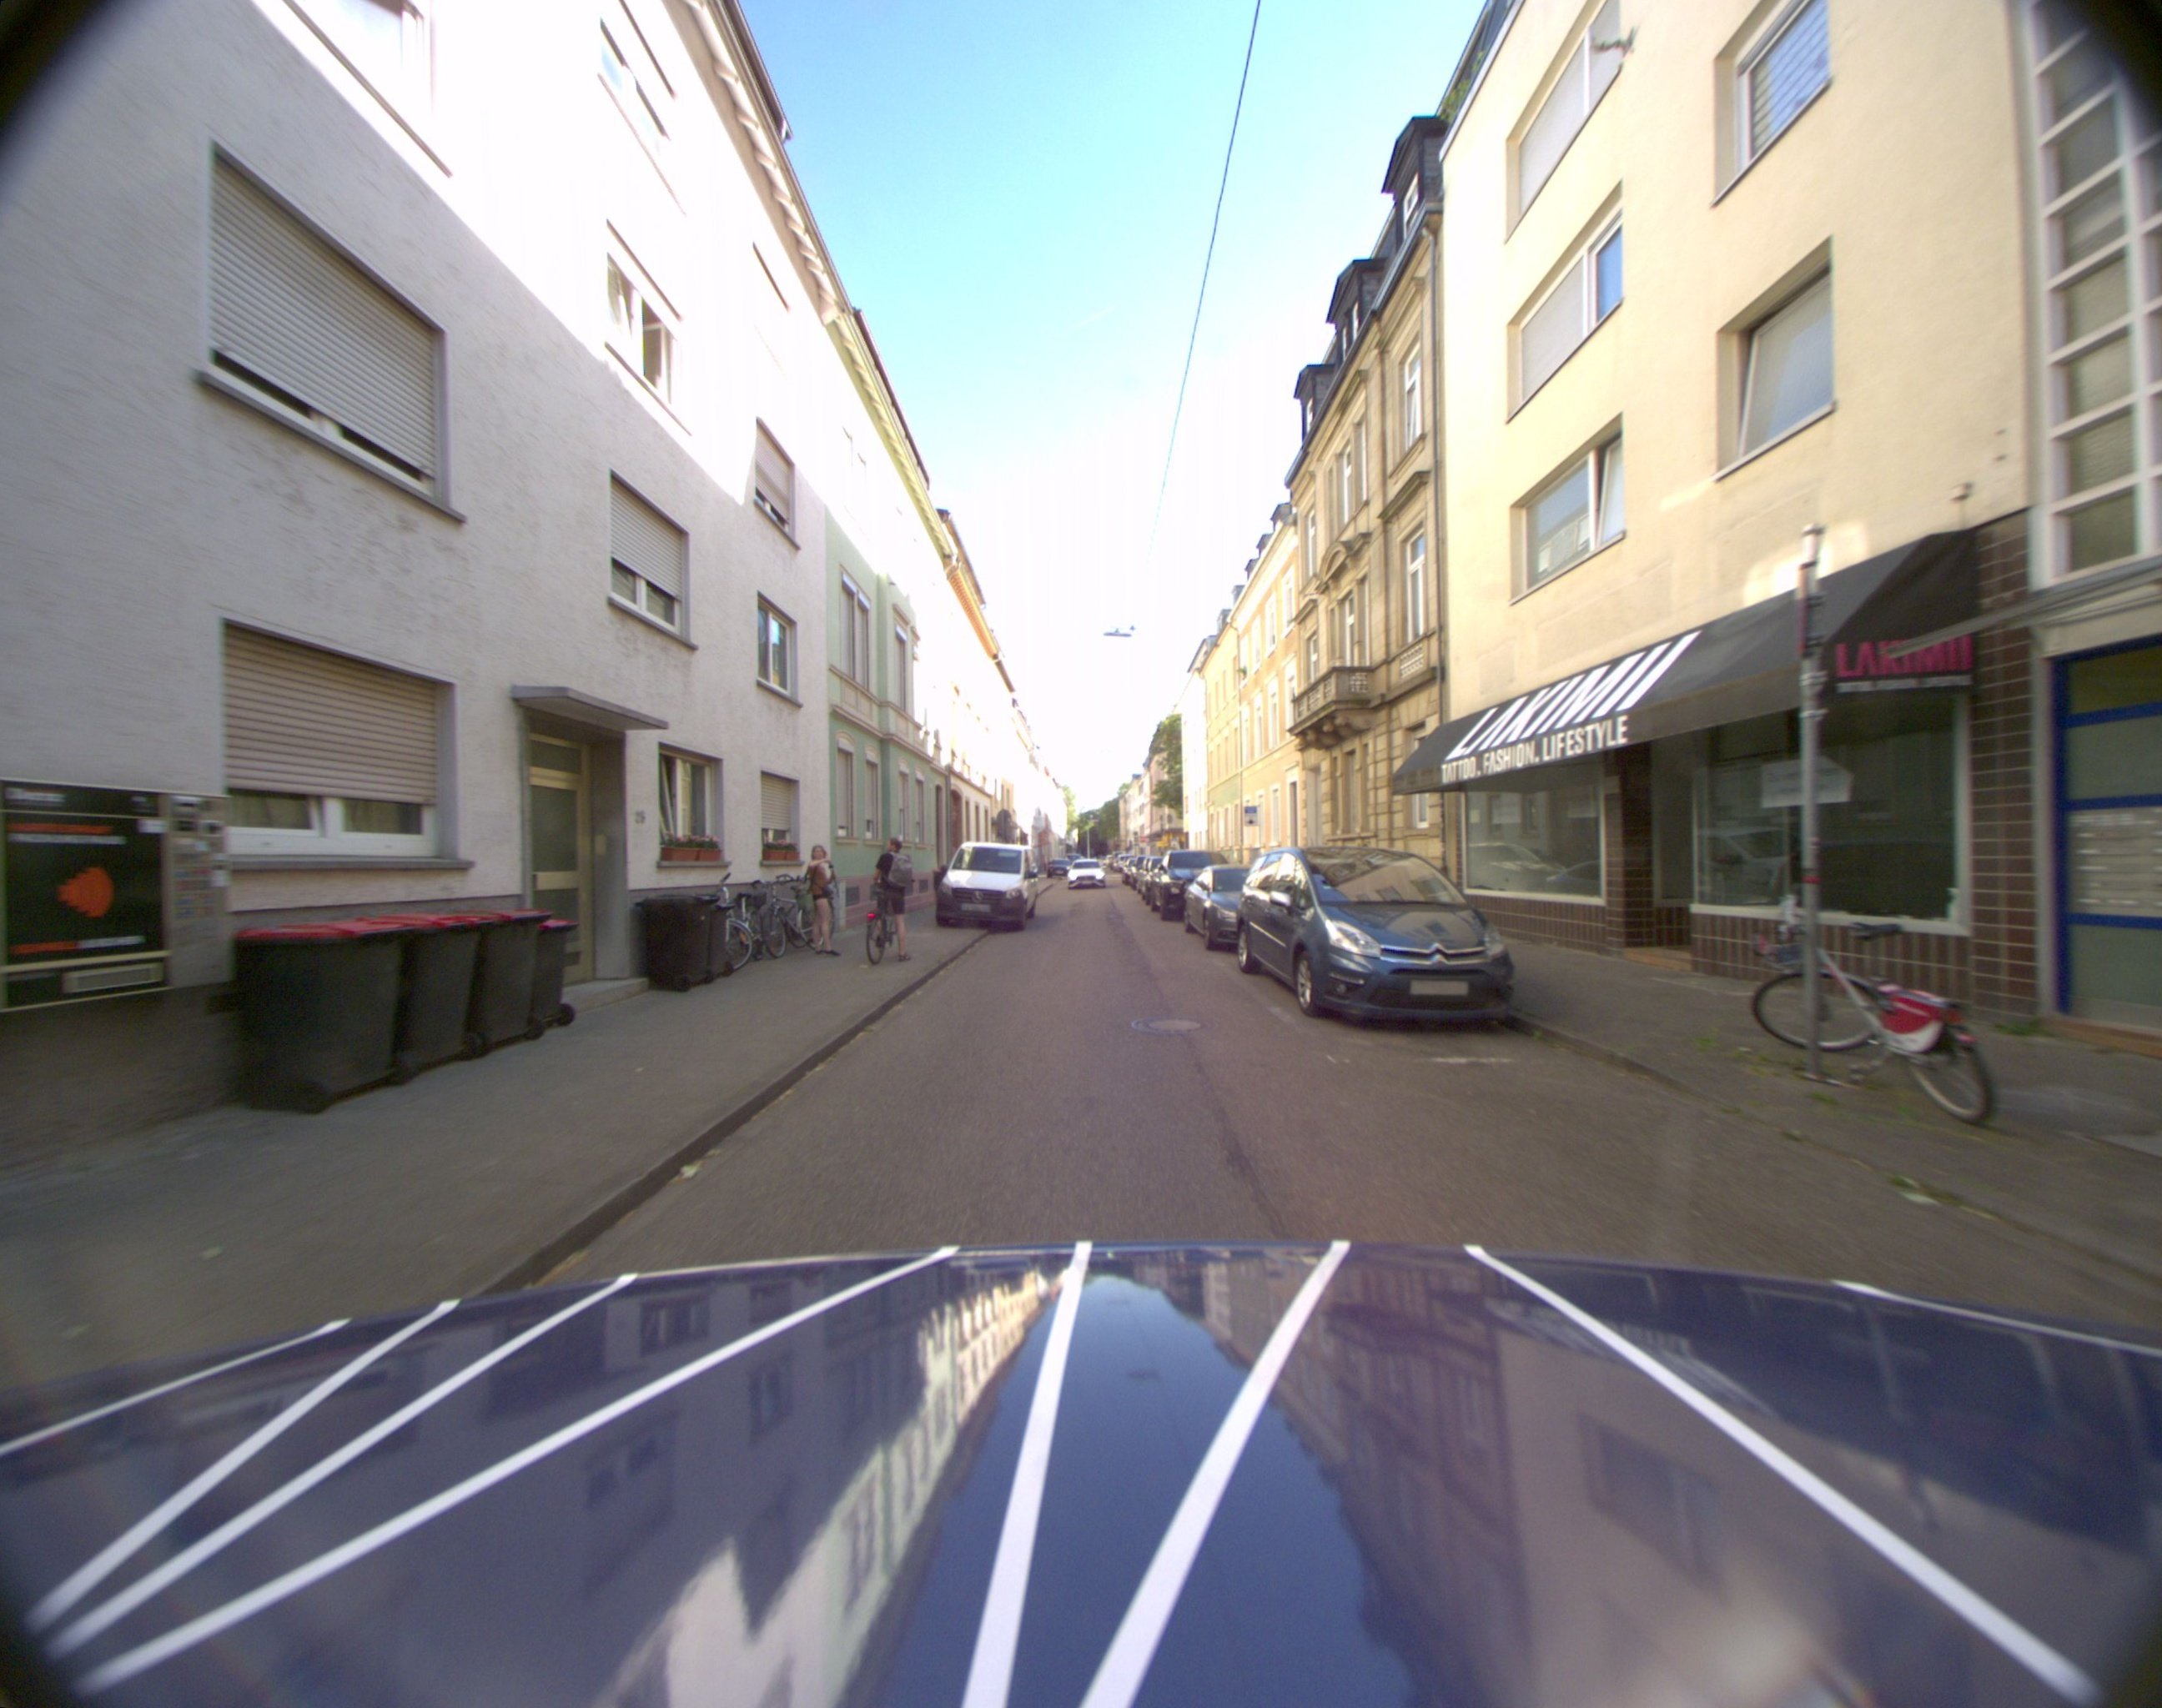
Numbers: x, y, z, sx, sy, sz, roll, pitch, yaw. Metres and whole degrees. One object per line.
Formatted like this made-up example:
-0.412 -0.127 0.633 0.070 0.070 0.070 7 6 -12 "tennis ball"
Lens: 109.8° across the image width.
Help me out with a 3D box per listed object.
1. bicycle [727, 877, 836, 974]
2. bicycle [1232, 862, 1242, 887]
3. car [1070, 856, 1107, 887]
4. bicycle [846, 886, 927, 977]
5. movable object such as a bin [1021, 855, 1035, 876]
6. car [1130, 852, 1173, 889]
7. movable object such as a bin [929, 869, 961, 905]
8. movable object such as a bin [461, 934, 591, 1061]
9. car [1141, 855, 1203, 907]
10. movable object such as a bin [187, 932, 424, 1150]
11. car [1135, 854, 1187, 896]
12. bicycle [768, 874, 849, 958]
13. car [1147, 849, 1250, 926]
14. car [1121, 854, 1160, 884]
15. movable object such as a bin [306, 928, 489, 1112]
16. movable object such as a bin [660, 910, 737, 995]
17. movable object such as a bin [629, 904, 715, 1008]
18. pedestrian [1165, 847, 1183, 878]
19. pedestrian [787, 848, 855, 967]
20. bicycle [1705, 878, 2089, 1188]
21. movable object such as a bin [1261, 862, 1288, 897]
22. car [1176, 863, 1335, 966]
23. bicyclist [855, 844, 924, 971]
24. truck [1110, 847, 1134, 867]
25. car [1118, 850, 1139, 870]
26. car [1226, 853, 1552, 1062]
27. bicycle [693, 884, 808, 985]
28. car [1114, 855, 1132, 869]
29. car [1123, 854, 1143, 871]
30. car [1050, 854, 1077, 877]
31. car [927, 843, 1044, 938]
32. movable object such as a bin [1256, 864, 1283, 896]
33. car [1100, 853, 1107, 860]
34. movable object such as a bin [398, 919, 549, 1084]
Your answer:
-4.403 1.004 11.379 0.438 1.199 2.267 0 1 8 "bicycle"
6.726 0.877 32.843 0.361 1.023 1.918 0 1 11 "bicycle"
0.405 0.847 38.105 1.761 1.399 4.021 -1 1 1 "car"
-2.805 1.080 11.170 0.665 1.130 1.988 2 -1 -1 "bicycle"
-3.654 0.769 52.614 0.748 1.428 1.372 2 1 3 "movable object such as a bin"
3.246 0.731 35.706 1.748 1.605 4.603 0 0 2 "car"
-4.206 1.017 23.543 0.814 1.082 0.674 -1 1 3 "movable object such as a bin"
-4.551 1.156 6.262 0.607 0.929 0.605 -1 1 2 "movable object such as a bin"
2.918 0.825 25.147 1.717 1.522 4.367 0 0 2 "car"
-4.515 1.054 4.469 0.740 1.091 0.640 2 1 2 "movable object such as a bin"
3.099 0.763 29.912 1.619 1.544 3.977 -1 0 0 "car"
-4.502 0.986 12.717 0.406 1.199 2.160 -1 1 4 "bicycle"
2.866 0.734 19.627 1.941 1.726 5.142 0 0 1 "car"
3.207 0.775 41.567 1.718 1.480 4.852 2 0 0 "car"
-4.520 1.074 5.065 0.658 1.099 0.593 -1 1 2 "movable object such as a bin"
-4.530 1.155 9.026 0.578 0.919 0.607 2 1 1 "movable object such as a bin"
-4.516 1.108 8.415 0.617 1.056 0.603 1 1 1 "movable object such as a bin"
5.492 0.491 44.795 0.913 1.822 1.245 -1 1 1 "pedestrian"
-3.848 0.773 11.281 0.656 1.702 0.687 0 1 13 "pedestrian"
4.587 0.882 4.489 0.466 1.324 1.855 -5 2 9 "bicycle"
6.494 0.859 25.546 0.721 1.125 0.584 -1 1 -3 "movable object such as a bin"
2.921 0.941 13.829 1.850 1.409 4.817 1 1 1 "car"
-2.764 0.755 11.063 0.762 1.760 0.822 2 0 -1 "bicyclist"
5.034 0.357 94.539 2.171 2.295 6.344 1 1 -5 "truck"
4.752 0.614 77.174 1.771 1.887 4.809 1 0 0 "car"
2.916 0.834 8.446 1.787 1.657 4.670 1 0 1 "car"
-4.408 1.029 10.290 0.570 1.147 1.868 0 1 6 "bicycle"
4.598 0.837 83.180 1.669 1.514 4.489 1 0 0 "car"
4.854 0.748 70.955 1.671 1.551 3.722 -1 0 2 "car"
-1.283 0.856 56.784 1.805 1.570 4.897 -2 0 1 "car"
-2.115 0.747 18.468 1.988 1.873 5.599 3 0 1 "car"
6.487 0.881 26.168 0.737 1.082 0.683 -1 -1 -3 "movable object such as a bin"
5.387 0.519 181.784 1.786 1.674 4.021 -1 1 1 "car"
-4.496 1.067 5.655 0.629 1.116 0.569 -1 1 2 "movable object such as a bin"
